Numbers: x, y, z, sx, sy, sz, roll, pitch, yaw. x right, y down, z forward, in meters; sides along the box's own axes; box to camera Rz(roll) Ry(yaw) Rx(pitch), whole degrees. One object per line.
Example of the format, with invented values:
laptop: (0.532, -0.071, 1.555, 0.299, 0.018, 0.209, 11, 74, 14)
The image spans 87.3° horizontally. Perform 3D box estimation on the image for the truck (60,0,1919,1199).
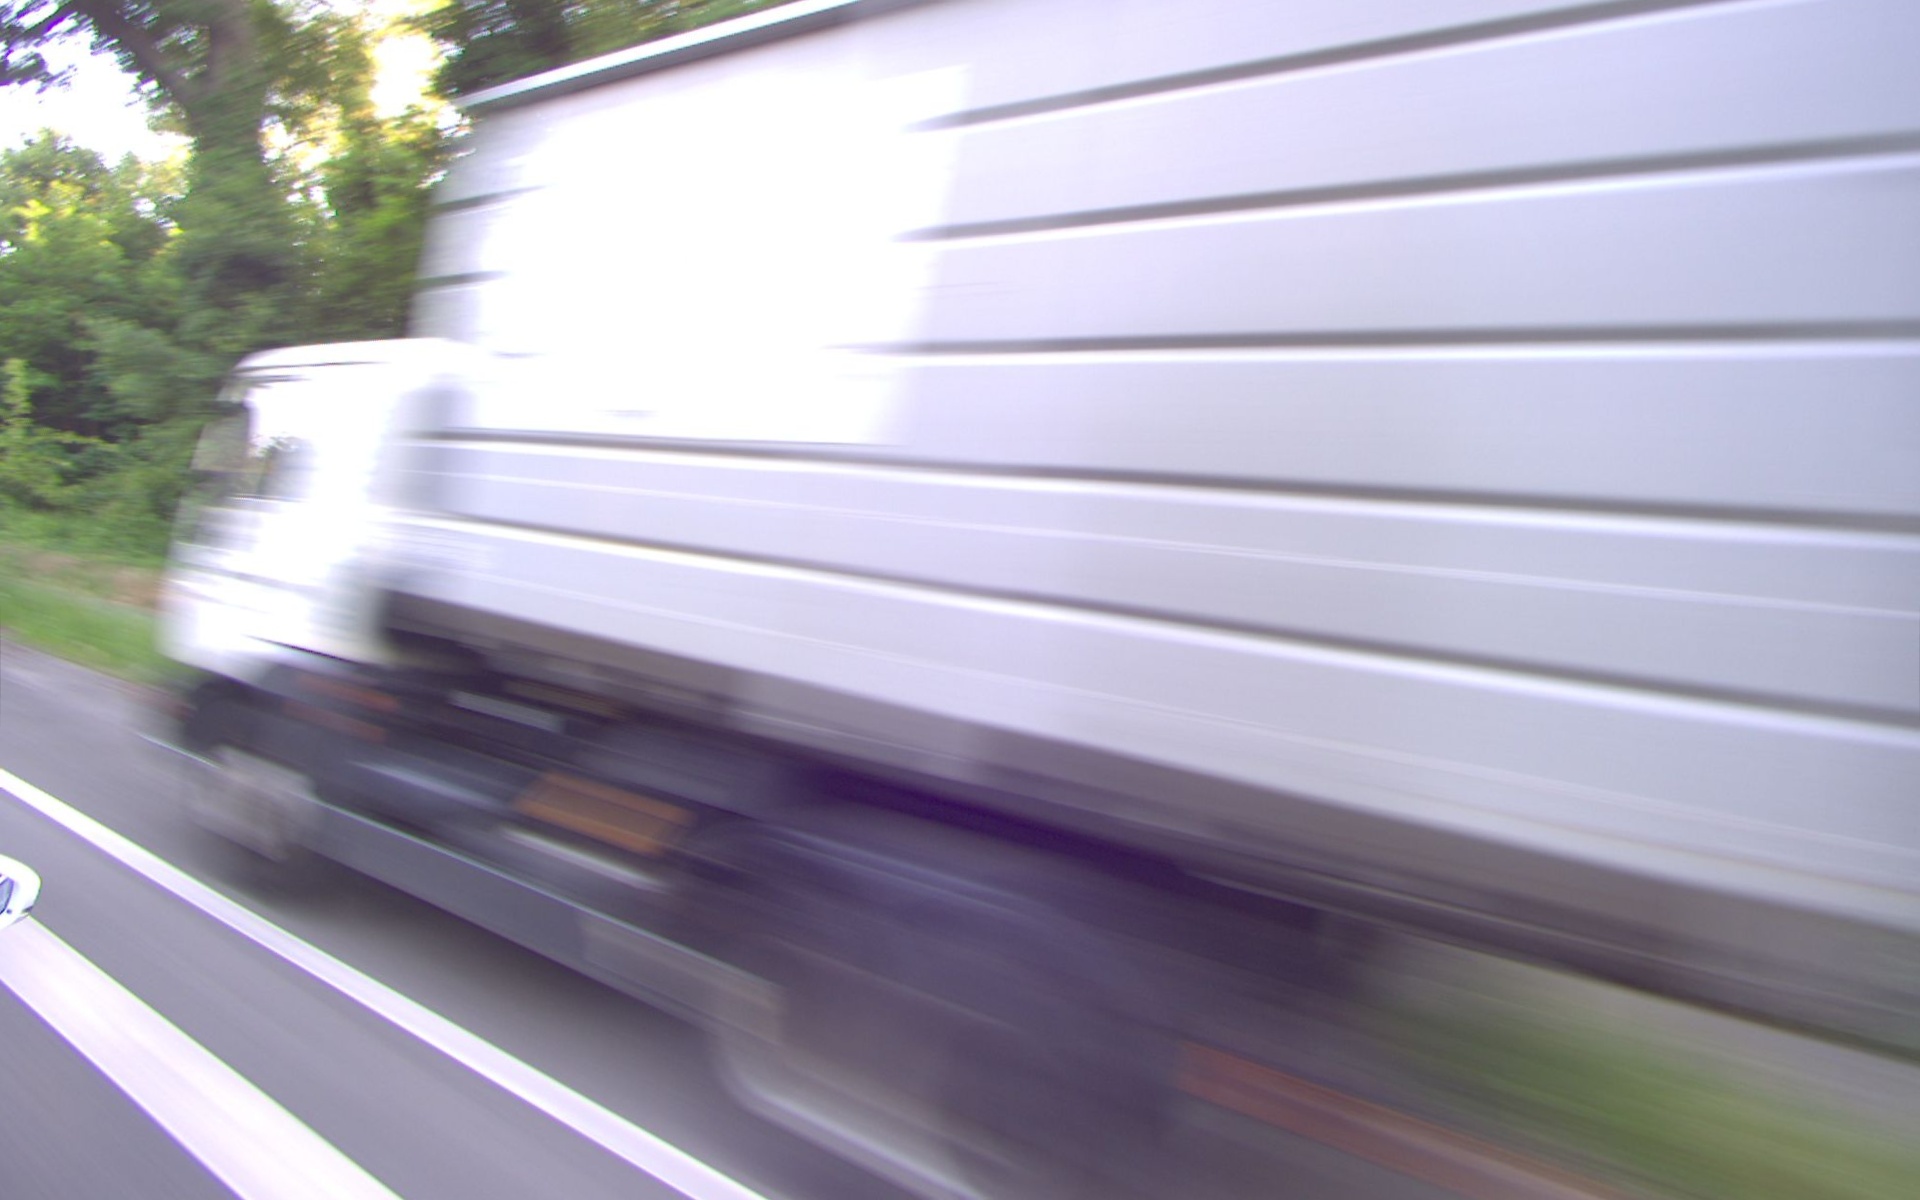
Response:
truck: (-0.487, -0.140, 3.988, 7.104, 3.293, 2.593, 6, -2, 33)
